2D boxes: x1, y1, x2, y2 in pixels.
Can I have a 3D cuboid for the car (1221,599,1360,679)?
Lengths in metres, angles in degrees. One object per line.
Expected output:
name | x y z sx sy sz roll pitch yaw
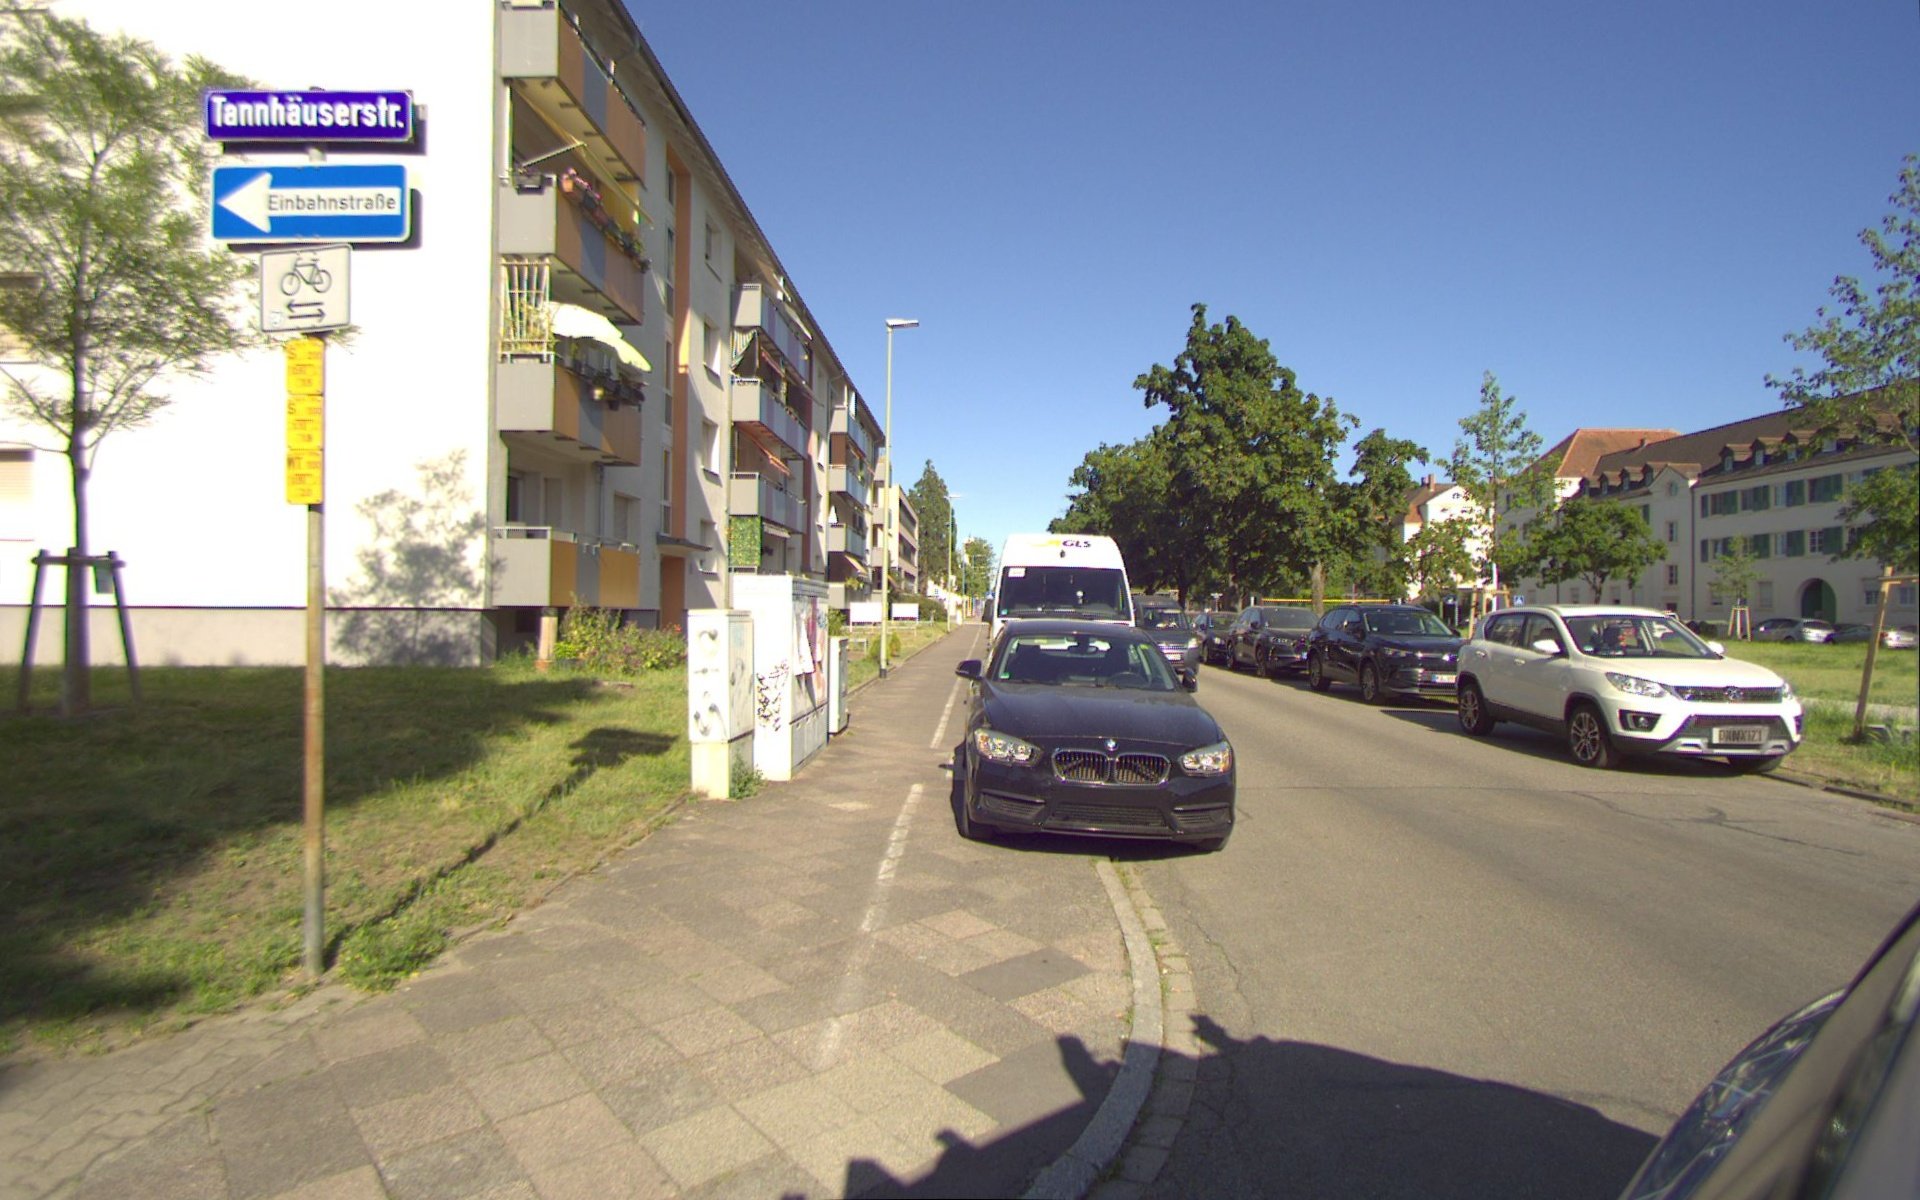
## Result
car | 7.632 0.836 23.900 1.792 1.630 4.736 2 0 2

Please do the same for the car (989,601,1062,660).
car | 1.761 0.801 28.267 1.849 1.494 4.137 1 0 2

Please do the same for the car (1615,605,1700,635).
car | 48.304 1.345 70.212 2.185 2.010 5.258 1 0 -1

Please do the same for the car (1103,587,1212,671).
car | 4.618 0.663 24.237 1.868 1.813 4.155 1 -1 1

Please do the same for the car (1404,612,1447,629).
car | 45.246 1.968 98.440 1.962 1.503 4.956 1 0 1

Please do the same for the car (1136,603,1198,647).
car | 7.819 0.921 38.540 1.561 1.511 3.684 2 0 0

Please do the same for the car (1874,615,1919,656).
car | 48.035 1.761 49.874 2.228 1.929 4.166 1 0 0

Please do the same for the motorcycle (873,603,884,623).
motorcycle | -5.049 0.785 62.286 0.573 1.166 2.040 1 0 -7

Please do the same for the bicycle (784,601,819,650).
bicycle | -4.190 0.657 26.907 0.586 1.191 2.014 0 1 1

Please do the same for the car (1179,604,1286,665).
car | 7.671 0.916 28.929 1.844 1.538 4.469 3 0 1

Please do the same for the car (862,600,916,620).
car | -5.903 0.815 84.525 4.337 1.644 1.914 1 0 0

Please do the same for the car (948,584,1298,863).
car | 0.950 0.702 7.988 1.928 1.500 4.497 2 0 1

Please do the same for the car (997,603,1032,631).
car | 3.114 0.942 58.533 1.814 1.491 5.063 1 0 1

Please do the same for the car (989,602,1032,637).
car | 2.331 0.875 47.636 1.720 1.518 3.862 1 0 -1

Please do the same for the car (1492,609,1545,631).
car | 42.982 1.531 77.993 1.761 1.603 4.234 1 0 1

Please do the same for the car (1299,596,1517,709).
car | 7.623 0.806 17.810 1.815 1.659 4.712 2 0 2

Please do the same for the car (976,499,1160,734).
car | 1.469 0.201 15.629 2.110 2.747 6.835 2 0 3

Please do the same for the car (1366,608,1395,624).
car | 49.087 1.867 118.143 1.921 1.816 3.996 1 0 3

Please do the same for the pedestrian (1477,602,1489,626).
pedestrian | 38.033 1.020 73.628 0.536 1.706 0.672 1 -1 7

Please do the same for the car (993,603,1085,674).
car | 1.742 0.830 23.578 1.820 1.484 4.201 0 -1 0

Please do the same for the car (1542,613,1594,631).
car | 48.435 1.756 80.740 1.741 1.373 3.998 1 0 1

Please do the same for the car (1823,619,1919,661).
car | 42.490 1.790 46.512 2.282 1.772 4.005 1 0 3

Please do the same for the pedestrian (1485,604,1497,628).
pedestrian | 38.717 1.141 73.784 0.535 1.706 0.749 1 -1 4

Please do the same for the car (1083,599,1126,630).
car | 8.461 0.824 59.683 1.995 1.646 4.753 2 0 3

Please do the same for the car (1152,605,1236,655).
car | 7.781 0.950 34.095 1.728 1.511 4.667 2 0 0

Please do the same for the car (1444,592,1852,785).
car | 7.244 0.800 11.306 1.730 1.668 4.283 2 0 3

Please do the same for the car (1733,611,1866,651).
car | 42.610 1.536 51.571 2.413 1.843 5.448 1 0 3

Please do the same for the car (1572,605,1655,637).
car | 42.969 1.315 66.719 2.186 2.010 5.255 1 0 2

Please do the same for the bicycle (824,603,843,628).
bicycle | -5.575 0.672 44.617 0.515 1.084 2.009 3 0 1

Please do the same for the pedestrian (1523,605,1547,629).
pedestrian | 49.255 1.453 86.662 1.317 1.988 1.164 1 -1 -4
